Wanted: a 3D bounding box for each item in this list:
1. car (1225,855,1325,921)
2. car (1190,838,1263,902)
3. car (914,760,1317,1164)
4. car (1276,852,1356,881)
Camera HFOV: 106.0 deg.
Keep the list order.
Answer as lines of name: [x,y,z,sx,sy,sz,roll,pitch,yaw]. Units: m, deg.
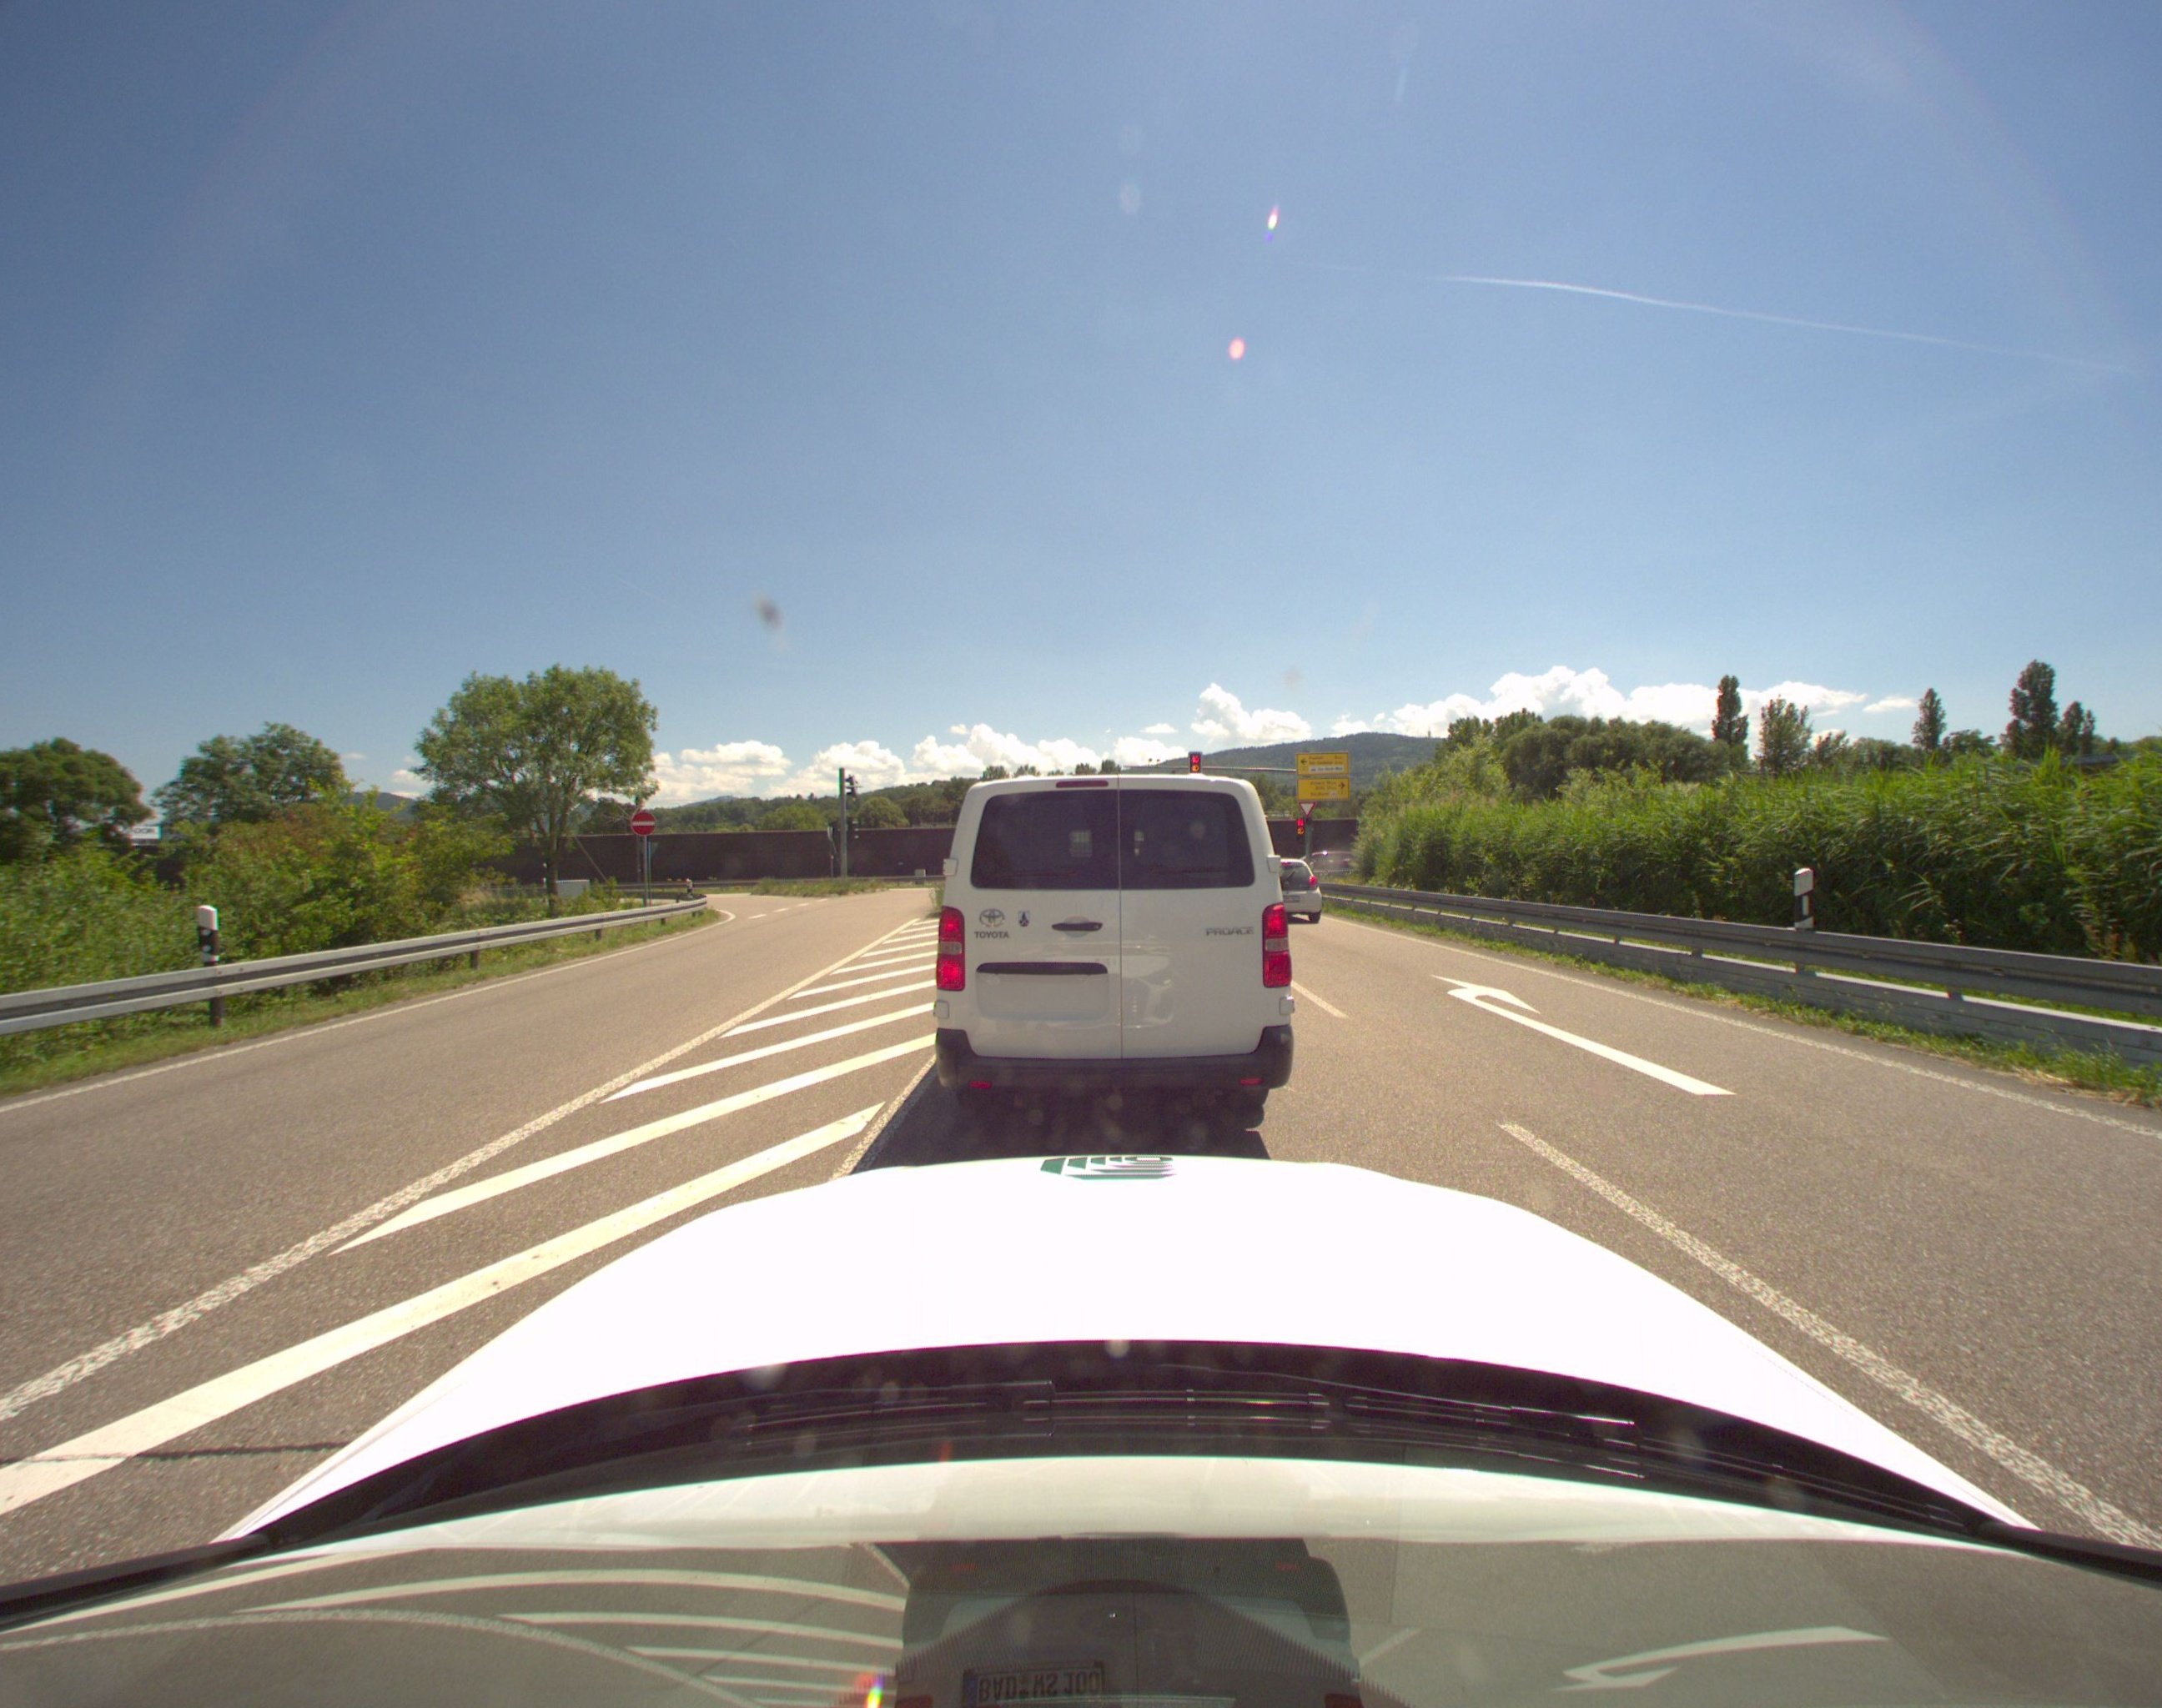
car: [4.578,0.758,19.654,1.650,1.431,3.366,-1,0,1]
car: [4.926,0.525,28.212,1.920,2.000,4.842,-1,0,3]
car: [0.205,0.522,5.835,1.880,1.886,4.001,-1,0,1]
car: [14.268,0.730,49.621,4.298,1.656,1.999,-1,0,-2]
